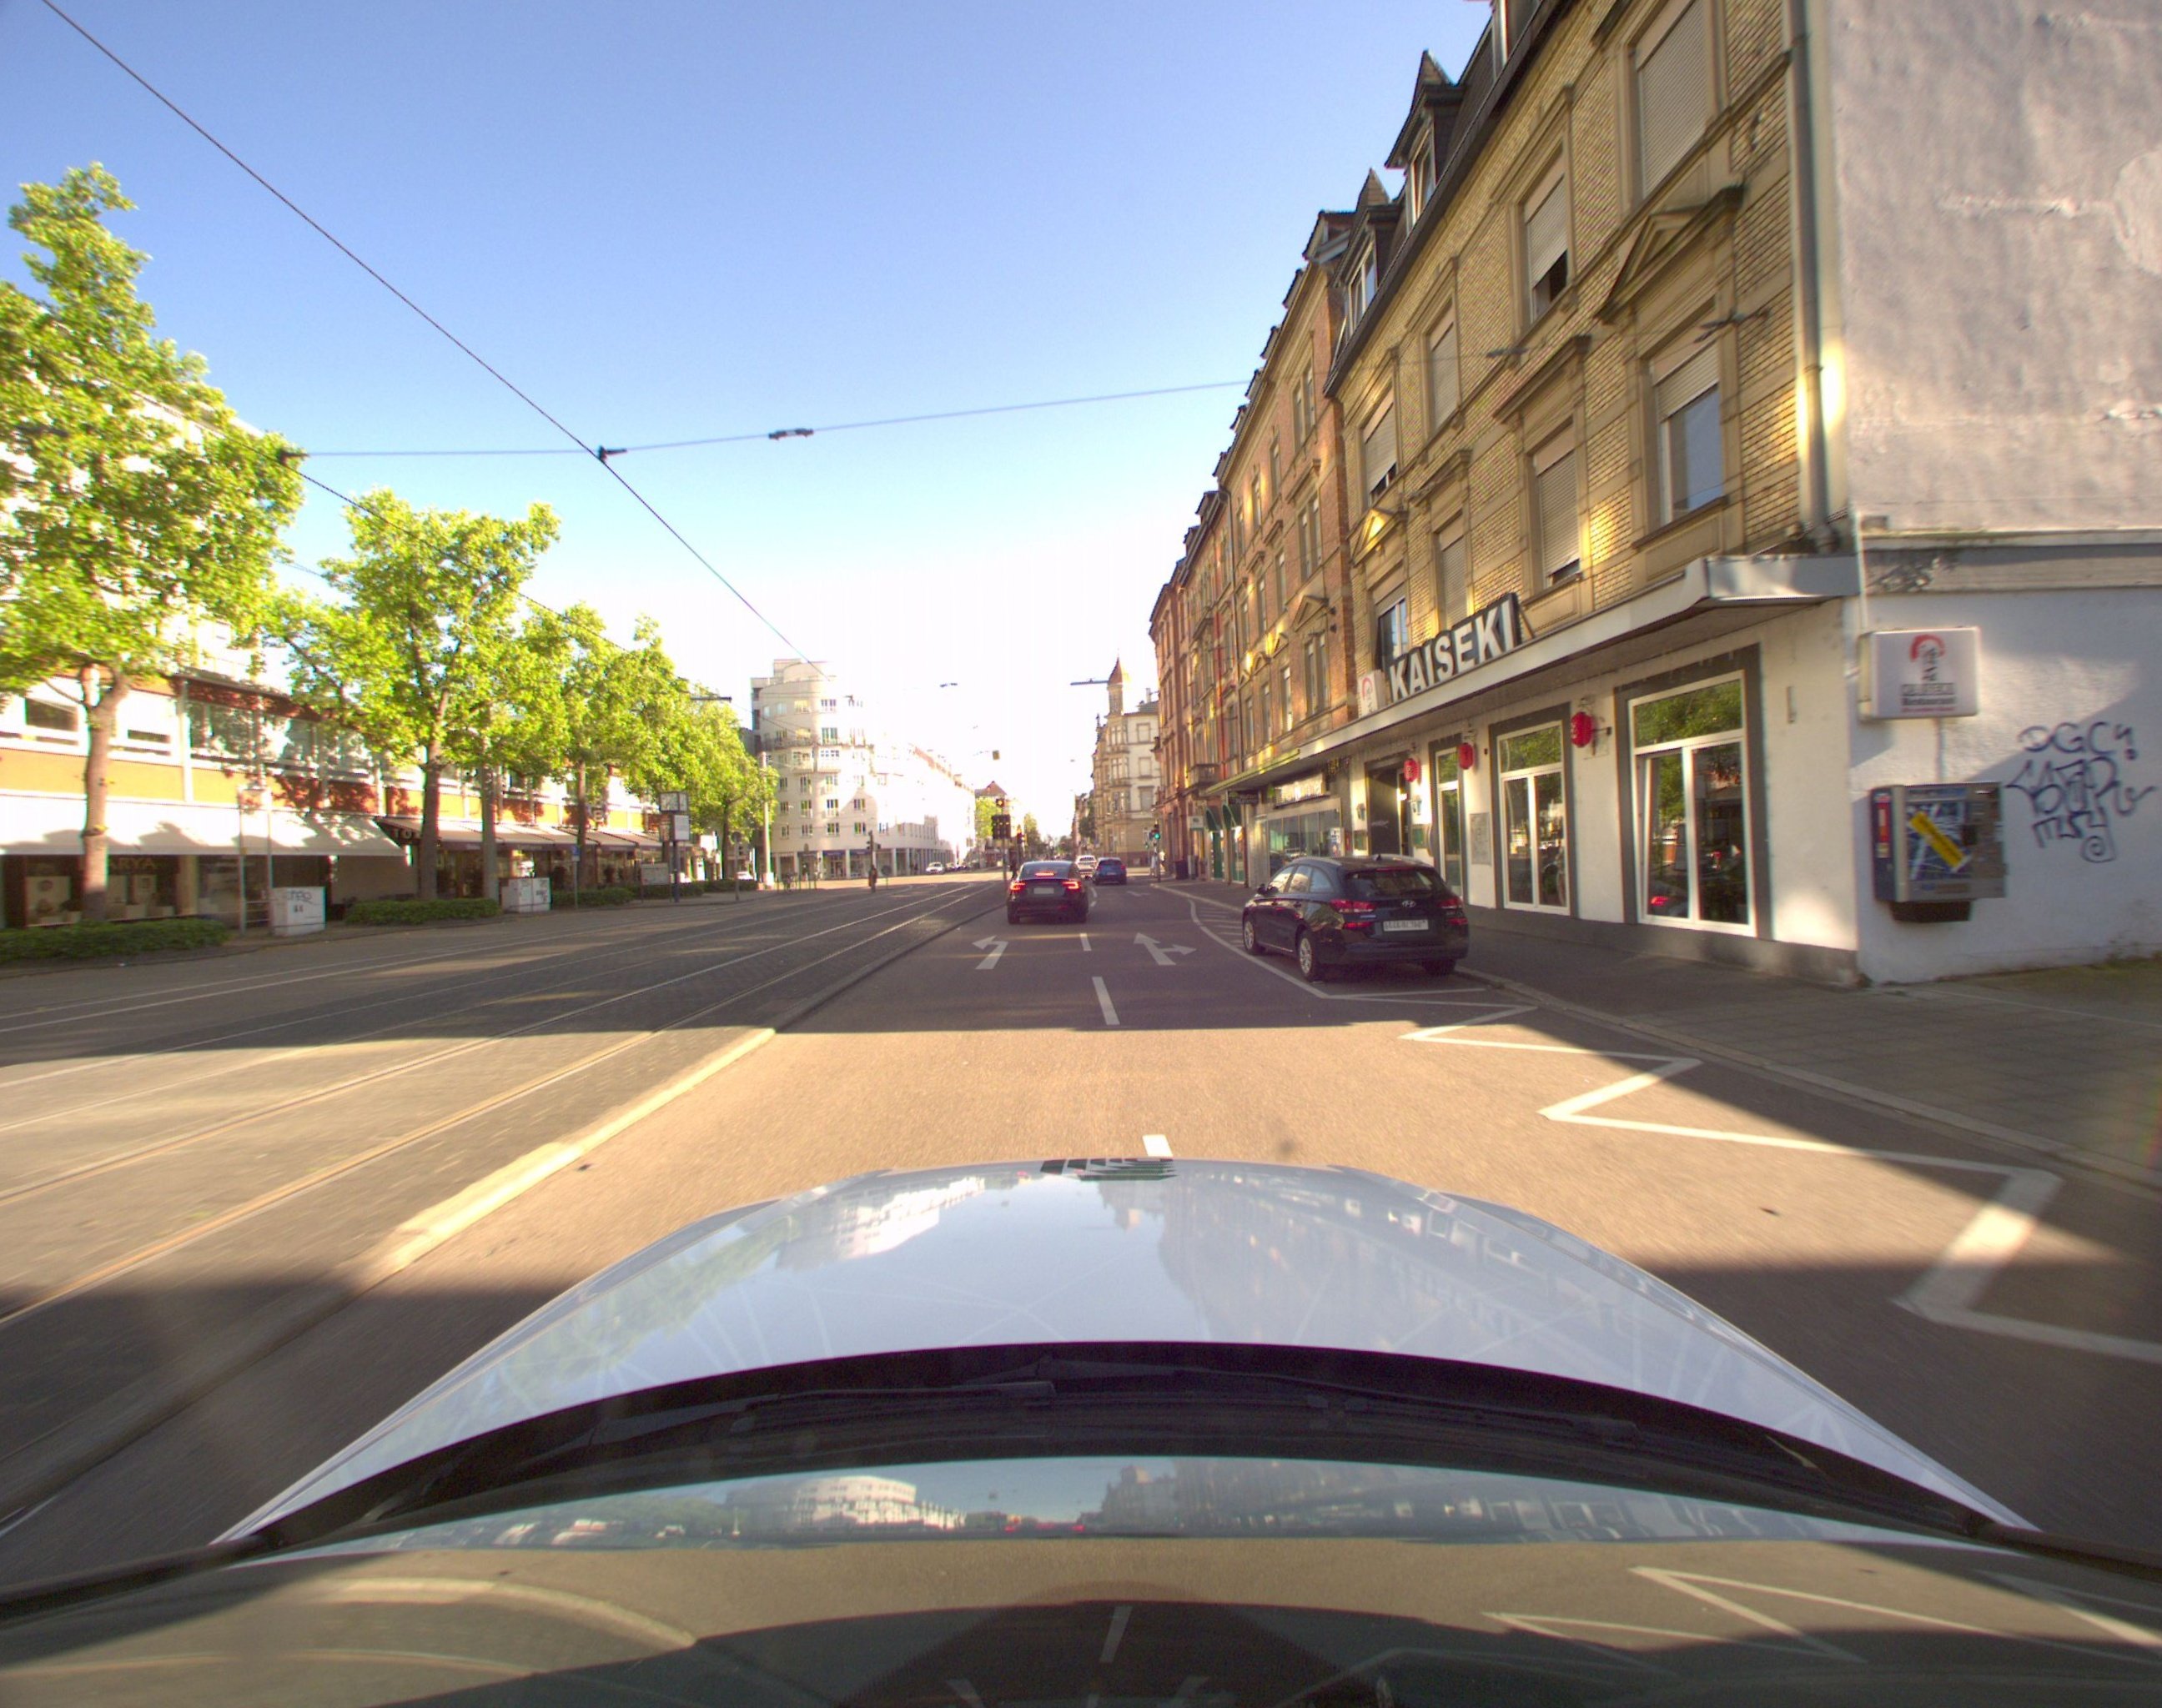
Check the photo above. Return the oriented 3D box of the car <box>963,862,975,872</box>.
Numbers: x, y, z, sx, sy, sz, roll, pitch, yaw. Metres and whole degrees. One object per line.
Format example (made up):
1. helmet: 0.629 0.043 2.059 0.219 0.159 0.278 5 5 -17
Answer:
1. car: -19.411 2.244 141.153 1.724 1.515 4.400 -2 0 -3

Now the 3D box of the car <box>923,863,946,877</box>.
1. car: -17.013 1.791 94.817 1.989 1.451 4.496 -3 0 -3

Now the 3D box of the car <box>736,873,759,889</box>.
1. car: -36.385 2.923 89.027 1.801 1.403 4.081 -2 2 -15

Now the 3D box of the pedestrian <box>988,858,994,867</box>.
1. pedestrian: -14.625 1.403 132.373 0.729 1.527 0.742 -2 0 -3

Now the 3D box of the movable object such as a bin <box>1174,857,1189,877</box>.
1. movable object such as a bin: 5.619 0.718 45.567 0.661 1.072 0.545 -5 0 0

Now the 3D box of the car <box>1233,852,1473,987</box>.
1. car: 3.401 0.722 11.114 1.686 1.451 4.356 -1 0 -2

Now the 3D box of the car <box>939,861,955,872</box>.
1. car: -20.262 1.883 123.365 1.990 1.596 3.994 -3 -1 -4

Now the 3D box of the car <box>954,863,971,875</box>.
1. car: -19.647 2.416 134.775 2.222 1.911 4.604 -2 0 -3

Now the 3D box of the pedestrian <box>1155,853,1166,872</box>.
1. pedestrian: 6.885 0.737 70.549 0.694 1.655 0.635 -3 -1 20

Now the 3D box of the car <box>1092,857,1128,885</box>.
1. car: 1.546 0.887 44.423 1.776 1.451 3.652 -1 0 -1

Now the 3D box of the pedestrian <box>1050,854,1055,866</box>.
1. pedestrian: -4.378 0.935 124.990 0.633 1.698 0.935 -1 -1 6

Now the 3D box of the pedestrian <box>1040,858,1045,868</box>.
1. pedestrian: -6.069 1.360 129.625 0.579 1.562 0.473 -3 0 34

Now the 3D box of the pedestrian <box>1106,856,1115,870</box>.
1. pedestrian: 3.526 1.023 95.876 0.917 1.632 0.943 -3 -1 6

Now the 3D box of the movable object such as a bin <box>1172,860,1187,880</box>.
1. movable object such as a bin: 5.460 0.884 44.975 0.661 1.072 0.591 -5 0 0

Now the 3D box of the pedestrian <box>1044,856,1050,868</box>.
1. pedestrian: -5.413 1.303 129.846 0.710 1.777 0.569 -3 0 34

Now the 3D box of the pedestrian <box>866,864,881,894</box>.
1. pedestrian: -11.092 1.320 43.630 0.498 1.517 0.858 -4 0 -2

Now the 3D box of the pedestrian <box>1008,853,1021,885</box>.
1. pedestrian: -3.762 0.850 46.088 0.556 1.763 0.894 -4 0 -2

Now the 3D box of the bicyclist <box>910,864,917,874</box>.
1. bicyclist: -20.342 1.815 98.849 0.587 1.285 0.926 -3 -1 -1

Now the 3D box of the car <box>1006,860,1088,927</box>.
1. car: -0.814 0.893 20.150 1.806 1.424 4.150 -1 0 -2

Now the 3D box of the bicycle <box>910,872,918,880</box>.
1. bicycle: -20.318 2.658 98.896 0.592 0.972 1.817 -3 -1 -1

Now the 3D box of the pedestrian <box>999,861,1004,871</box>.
1. pedestrian: -13.825 2.078 142.064 0.729 1.559 0.742 -2 0 -3

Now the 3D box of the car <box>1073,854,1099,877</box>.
1. car: 0.395 0.933 66.342 1.988 1.743 3.997 -1 -1 -1

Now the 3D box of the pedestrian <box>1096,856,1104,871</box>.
1. pedestrian: 2.293 1.156 98.795 0.778 1.749 1.091 -2 1 -4

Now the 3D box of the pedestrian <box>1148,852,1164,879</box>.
1. pedestrian: 4.536 0.703 49.197 0.681 1.607 0.728 -3 0 -12

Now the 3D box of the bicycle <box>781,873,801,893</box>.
1. bicycle: -18.049 1.789 50.654 0.496 1.186 2.233 -3 0 -3
